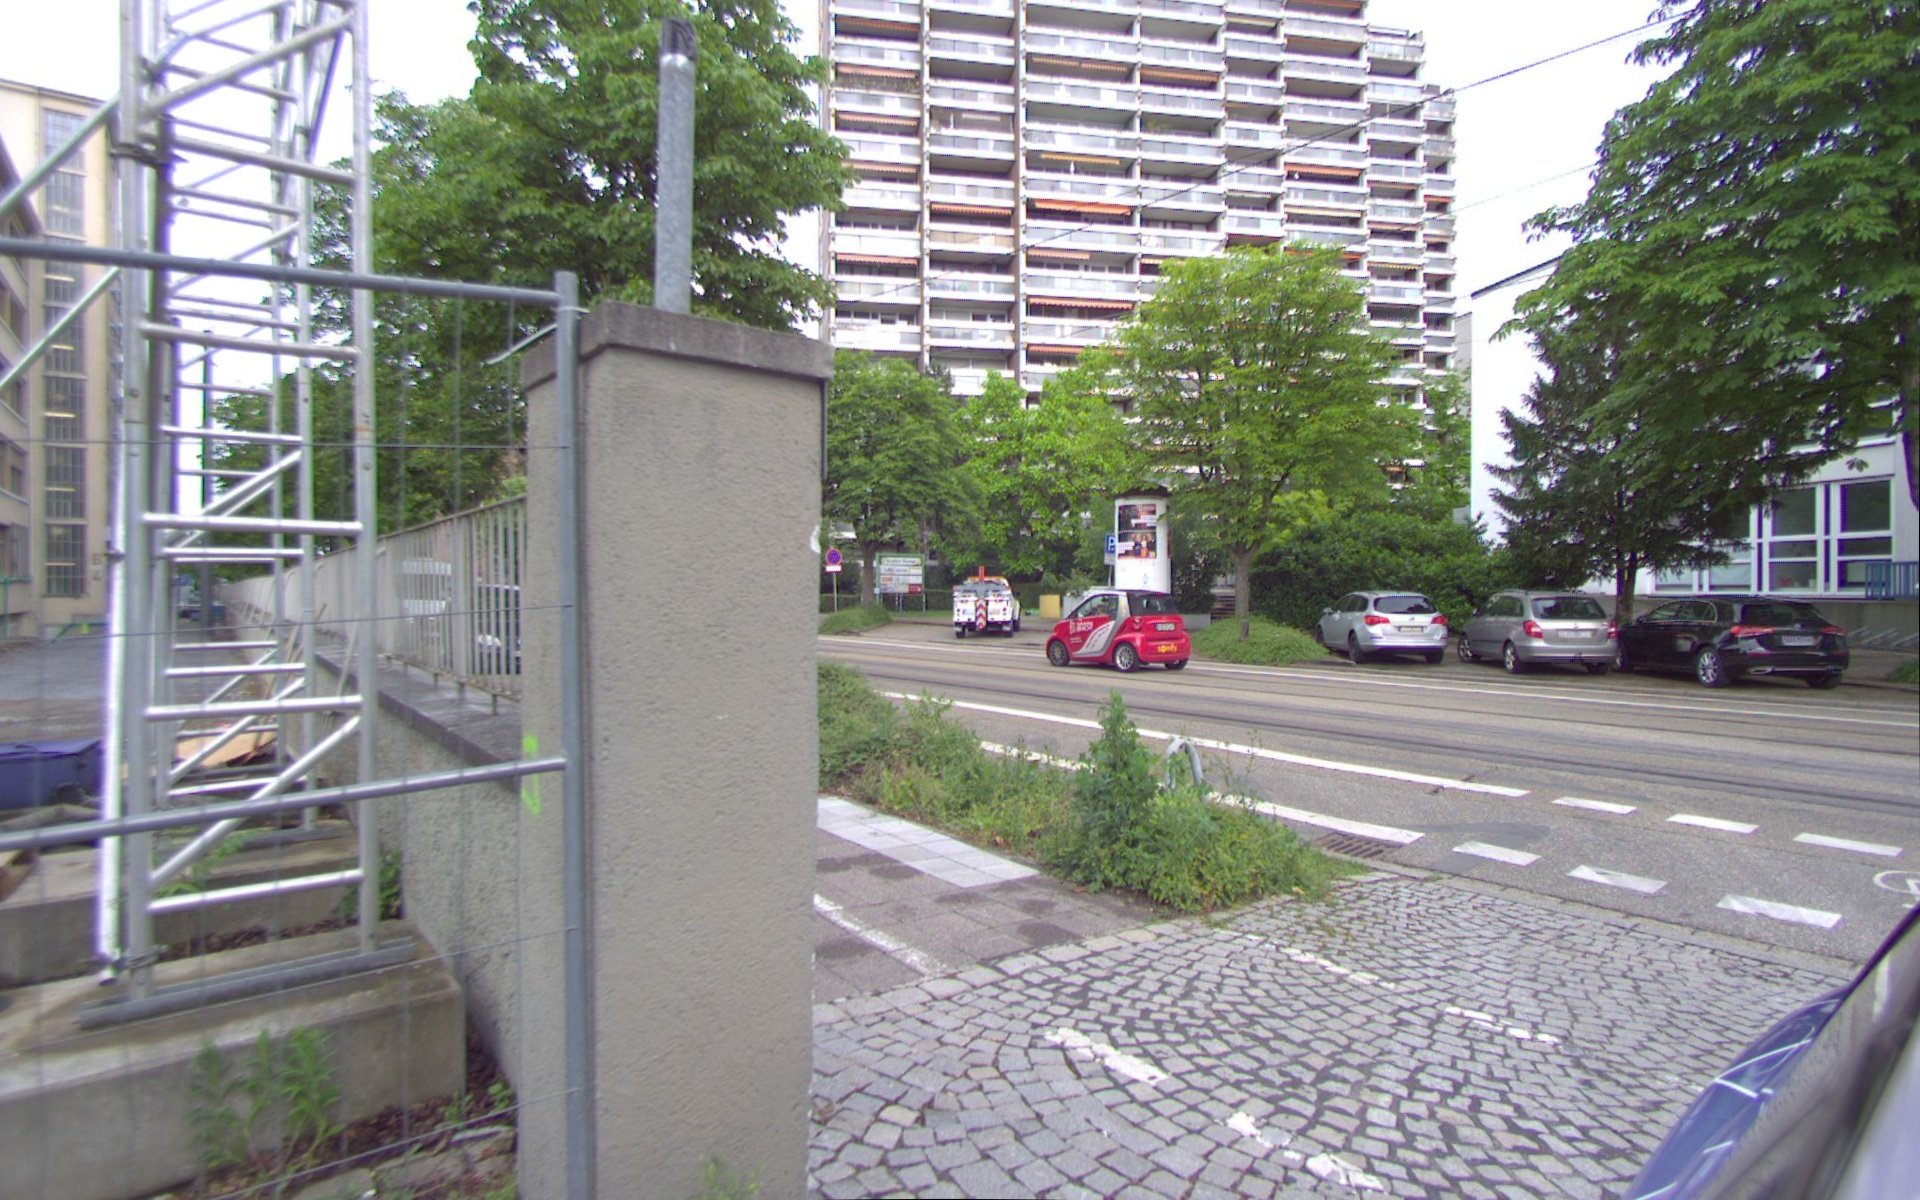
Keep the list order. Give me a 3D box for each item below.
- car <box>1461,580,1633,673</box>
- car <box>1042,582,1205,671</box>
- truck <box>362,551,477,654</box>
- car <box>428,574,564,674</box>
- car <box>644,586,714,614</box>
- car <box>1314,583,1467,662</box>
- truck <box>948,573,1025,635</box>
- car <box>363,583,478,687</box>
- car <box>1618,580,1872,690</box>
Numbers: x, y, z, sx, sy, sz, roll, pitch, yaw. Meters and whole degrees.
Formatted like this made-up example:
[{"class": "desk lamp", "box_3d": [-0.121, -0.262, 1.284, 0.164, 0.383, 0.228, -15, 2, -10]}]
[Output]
[{"class": "car", "box_3d": [10.918, 0.425, 19.107, 1.547, 1.543, 3.643, -1, 1, 9]}, {"class": "car", "box_3d": [3.125, 0.442, 19.614, 1.651, 1.541, 2.781, -1, 2, -36]}, {"class": "truck", "box_3d": [-15.453, 0.046, 28.770, 2.080, 2.635, 5.489, 1, 0, -37]}, {"class": "car", "box_3d": [-9.615, 0.427, 20.805, 1.628, 1.835, 4.082, 2, 0, -37]}, {"class": "car", "box_3d": [-15.516, -0.023, 55.995, 1.627, 1.394, 3.454, 2, 2, 39]}, {"class": "car", "box_3d": [9.161, 0.393, 21.930, 1.772, 1.483, 4.427, 0, 2, 5]}, {"class": "truck", "box_3d": [0.963, 0.074, 33.179, 1.967, 1.871, 5.053, 0, 1, 8]}, {"class": "car", "box_3d": [-15.375, 0.864, 28.688, 2.080, 2.635, 5.490, -1, 1, -36]}, {"class": "car", "box_3d": [12.596, 0.479, 16.554, 1.672, 1.543, 3.698, -1, 1, 9]}]
